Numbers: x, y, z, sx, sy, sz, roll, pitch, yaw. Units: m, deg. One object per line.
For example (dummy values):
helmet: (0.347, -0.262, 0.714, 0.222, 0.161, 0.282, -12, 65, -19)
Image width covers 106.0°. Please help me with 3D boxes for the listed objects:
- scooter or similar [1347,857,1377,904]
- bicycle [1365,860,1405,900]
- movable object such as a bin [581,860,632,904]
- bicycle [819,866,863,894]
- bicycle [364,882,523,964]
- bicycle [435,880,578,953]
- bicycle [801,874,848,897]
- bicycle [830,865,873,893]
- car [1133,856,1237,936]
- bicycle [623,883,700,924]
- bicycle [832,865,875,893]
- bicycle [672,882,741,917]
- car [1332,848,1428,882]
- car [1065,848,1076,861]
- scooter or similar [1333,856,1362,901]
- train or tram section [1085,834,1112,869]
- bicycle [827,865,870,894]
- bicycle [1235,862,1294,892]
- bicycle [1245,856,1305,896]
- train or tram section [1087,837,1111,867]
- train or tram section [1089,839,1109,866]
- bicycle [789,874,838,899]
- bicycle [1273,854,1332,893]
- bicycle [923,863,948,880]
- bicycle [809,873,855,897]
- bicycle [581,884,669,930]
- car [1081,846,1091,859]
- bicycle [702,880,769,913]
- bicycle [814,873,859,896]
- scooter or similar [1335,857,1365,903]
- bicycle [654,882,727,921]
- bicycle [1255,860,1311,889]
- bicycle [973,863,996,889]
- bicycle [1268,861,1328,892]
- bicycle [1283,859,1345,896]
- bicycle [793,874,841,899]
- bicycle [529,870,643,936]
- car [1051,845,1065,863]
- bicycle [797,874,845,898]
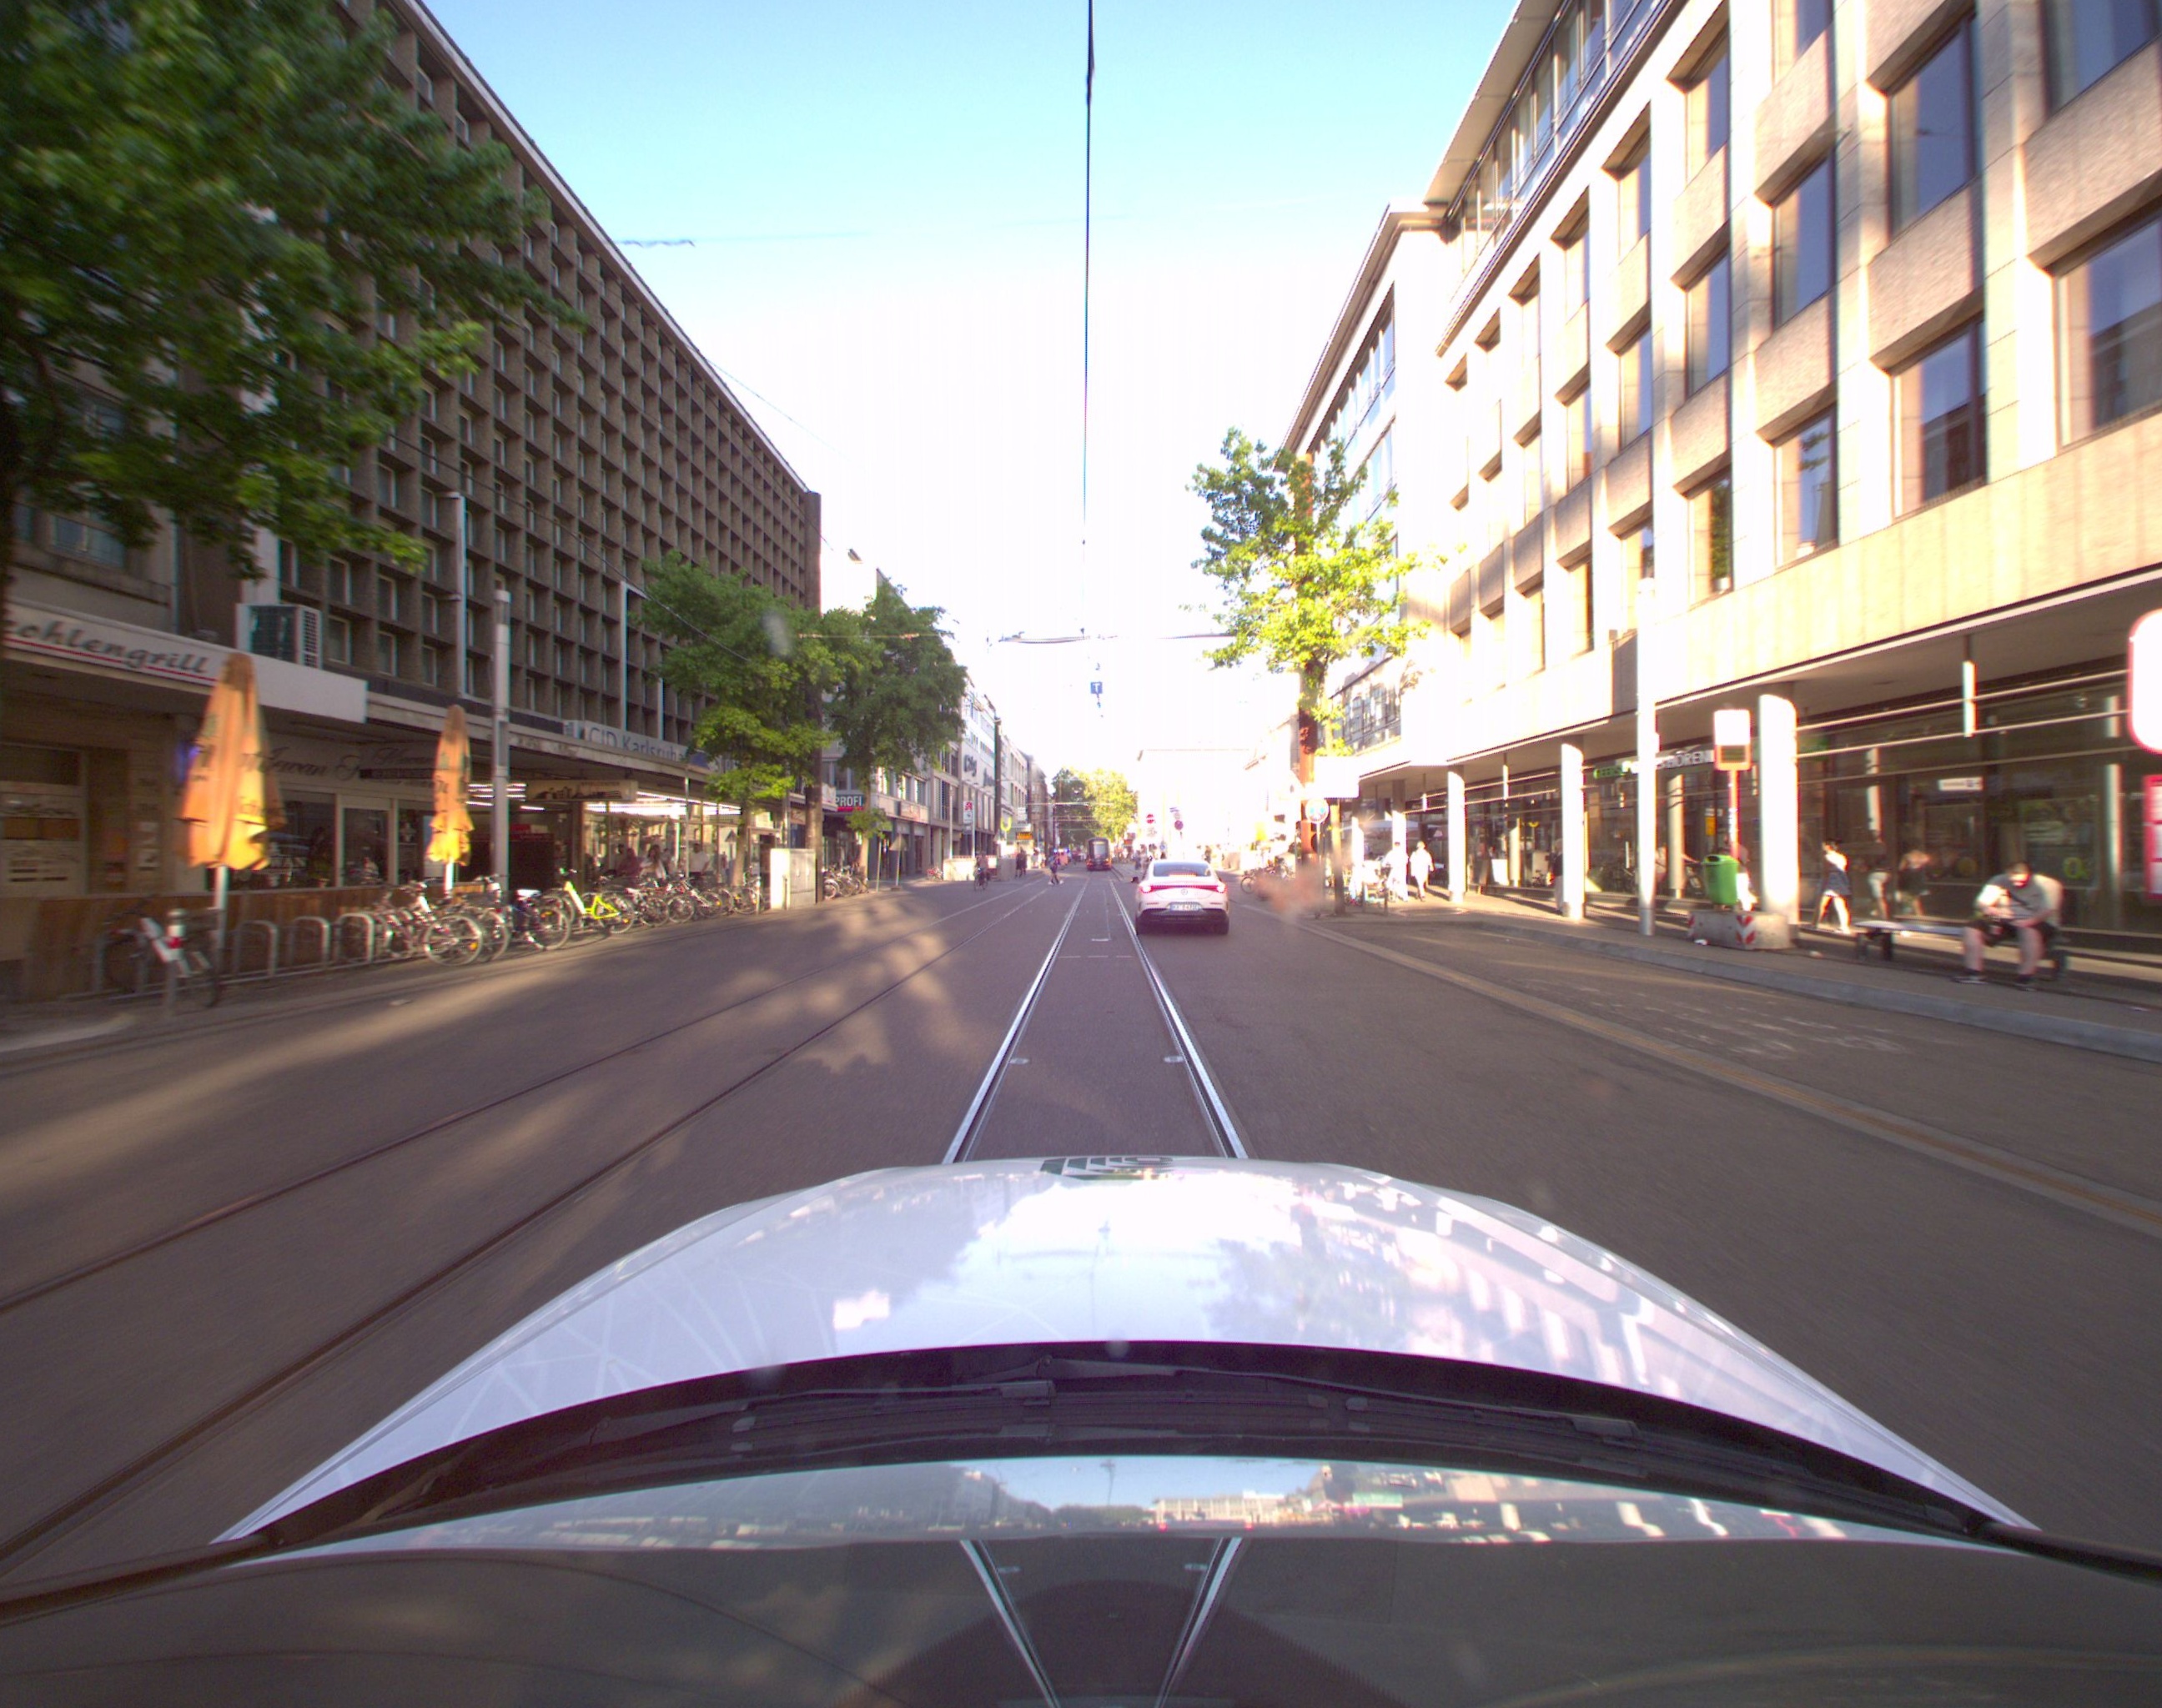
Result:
scooter or similar: (7.806, 0.733, 22.658, 0.491, 1.277, 0.658, -2, 0, -10)
bicycle: (9.111, 0.761, 24.452, 0.562, 1.127, 1.932, -2, 0, 5)
movable object such as a bin: (-11.689, 0.675, 20.106, 0.713, 1.039, 0.980, -1, 0, -5)
bicycle: (-8.694, 0.948, 29.569, 1.492, 1.009, 0.343, 1, 0, -9)
bicycle: (-8.636, 0.934, 11.059, 1.785, 1.077, 0.377, 1, 0, -3)
bicycle: (-8.736, 0.944, 12.419, 1.842, 1.077, 0.377, 1, 0, -3)
bicycle: (-8.762, 1.073, 27.878, 1.487, 0.783, 0.345, 1, 0, 2)
bicycle: (-8.552, 0.945, 30.380, 1.492, 1.029, 0.343, 1, 0, -9)
car: (2.048, 0.779, 17.132, 1.850, 1.455, 4.178, 0, 0, 3)
bicycle: (-9.013, 1.062, 17.511, 1.487, 0.841, 0.345, 1, 0, 2)
bicycle: (-8.589, 0.948, 30.753, 1.492, 1.029, 0.343, 1, 0, -9)
bicycle: (-8.856, 1.074, 19.280, 1.487, 0.783, 0.345, 1, 0, 2)
car: (13.616, 0.499, 37.228, 3.794, 1.473, 1.647, -1, 0, -4)
car: (-2.043, 0.129, 158.086, 1.903, 2.461, 5.277, -1, 0, 2)
scooter or similar: (7.846, 0.709, 23.982, 0.527, 1.277, 0.658, -2, 0, -10)
train or tram section: (1.917, -0.245, 88.771, 2.685, 3.516, 12.548, -1, 0, 1)
bicycle: (-8.550, 0.933, 30.006, 1.492, 1.029, 0.343, 1, 0, -9)
bicycle: (7.013, 0.865, 31.118, 2.114, 1.096, 0.608, 0, -1, -10)
bicycle: (6.699, 0.757, 28.137, 1.908, 1.281, 0.608, -2, 0, -10)
train or tram section: (2.235, -0.256, 101.323, 2.685, 3.516, 12.548, -1, 0, 1)
train or tram section: (2.529, -0.262, 113.164, 2.685, 3.516, 11.146, -1, 0, 1)
bicycle: (-8.806, 1.069, 26.804, 1.487, 0.783, 0.345, 1, 0, 2)
bicycle: (7.893, 0.690, 29.028, 1.908, 1.281, 0.608, -2, 0, -10)
bicycle: (-9.160, 1.114, 51.214, 0.713, 1.010, 2.047, -1, 0, 15)
bicycle: (-8.631, 1.065, 28.239, 1.487, 0.783, 0.345, 1, 0, 2)
bicycle: (-9.021, 1.053, 16.145, 1.490, 0.876, 0.344, 1, 0, -5)
car: (1.138, -0.315, 190.104, 2.091, 2.897, 5.277, -1, 0, 2)
bicycle: (-8.477, 1.044, 20.000, 1.487, 0.783, 0.345, 1, 0, 2)
bicycle: (-8.589, 1.075, 28.608, 1.487, 0.783, 0.345, 1, 0, 2)
scooter or similar: (7.716, 0.746, 23.361, 0.527, 1.277, 0.658, -2, 0, -10)
bicycle: (-8.880, 1.069, 18.537, 1.487, 0.841, 0.345, 1, 0, 2)
bicycle: (8.089, 0.824, 32.636, 2.114, 1.096, 0.608, -1, -1, -10)
bicycle: (-4.437, 0.983, 37.669, 0.797, 1.142, 2.257, 1, 0, 0)
bicycle: (8.105, 0.823, 30.437, 2.115, 1.096, 0.607, -1, -1, -12)
bicycle: (7.803, 0.778, 27.299, 1.908, 1.156, 0.608, -2, 0, -10)
bicycle: (-8.795, 1.075, 27.159, 1.487, 0.783, 0.345, 1, 0, 2)
bicycle: (-8.995, 0.882, 14.811, 1.839, 1.141, 0.377, 1, 0, 2)
car: (-3.901, -0.021, 139.318, 1.986, 2.897, 5.277, -1, 0, 2)
bicycle: (-8.780, 1.076, 27.518, 1.487, 0.783, 0.345, 1, 0, 2)
